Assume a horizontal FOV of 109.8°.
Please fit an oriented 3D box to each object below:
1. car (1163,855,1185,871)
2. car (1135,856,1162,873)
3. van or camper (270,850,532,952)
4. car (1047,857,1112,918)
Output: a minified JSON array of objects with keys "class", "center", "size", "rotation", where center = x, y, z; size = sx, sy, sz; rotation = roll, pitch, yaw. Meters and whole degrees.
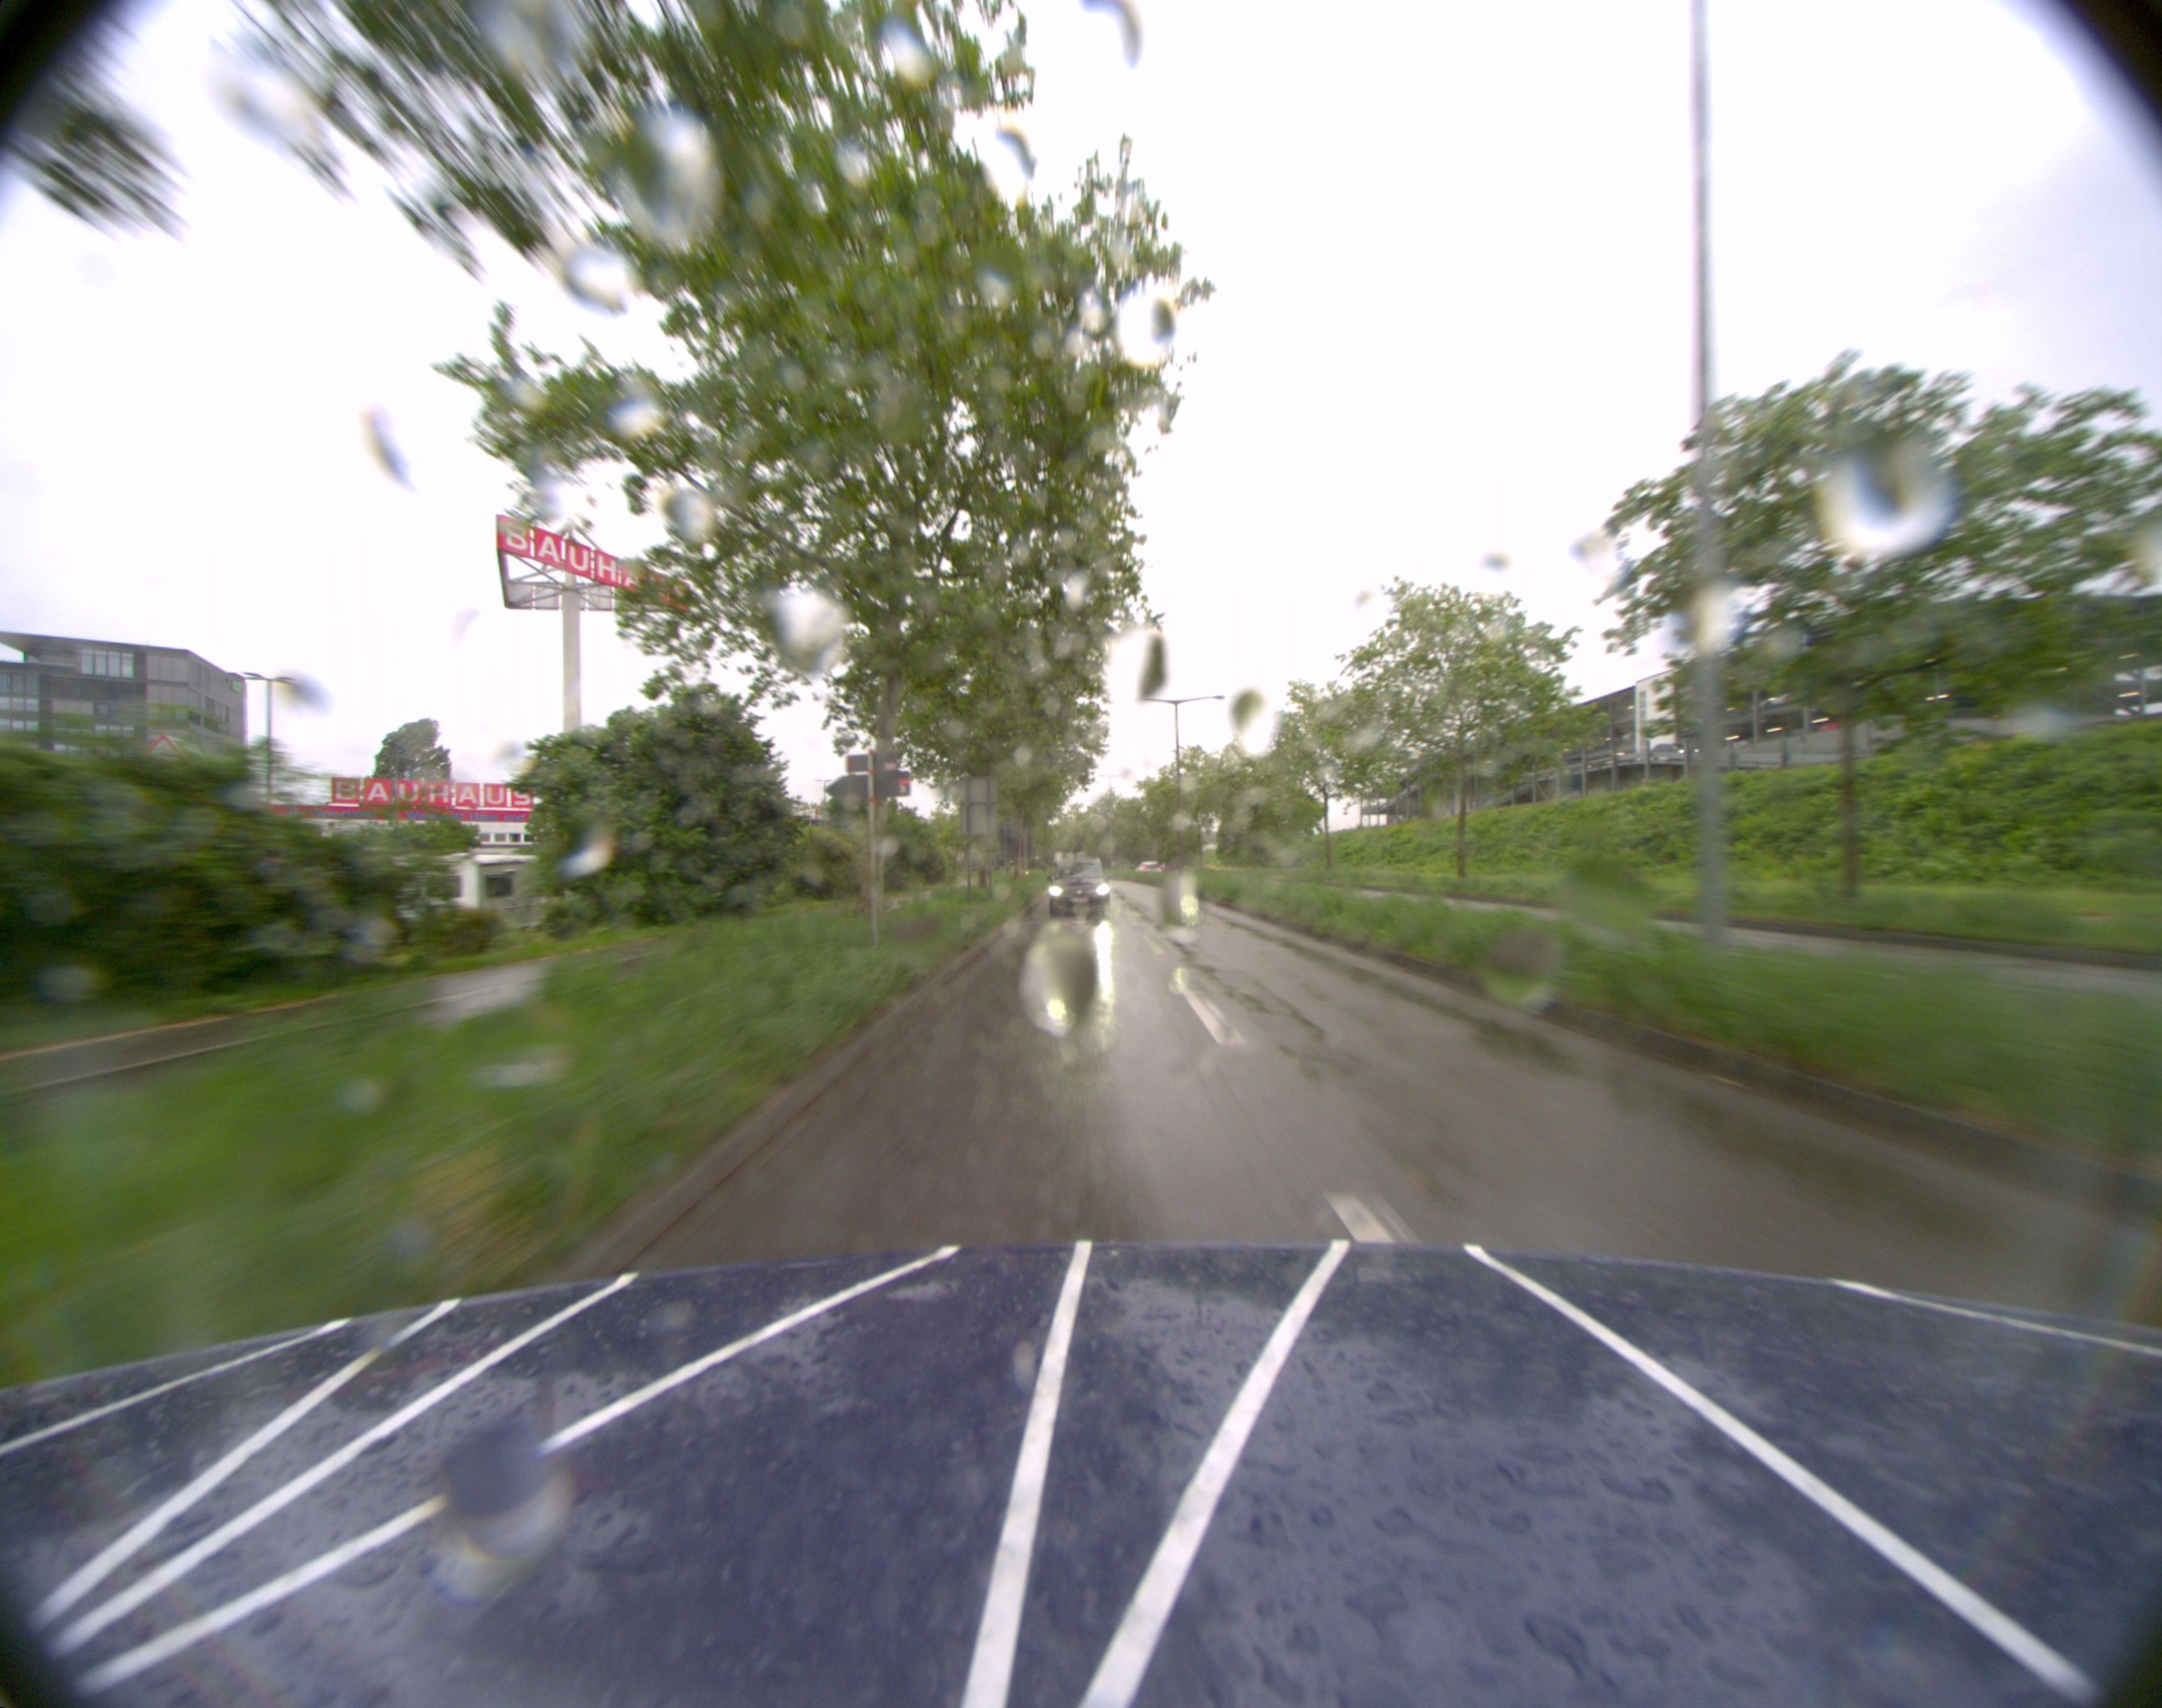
[{"class":"car","center":[8.980,0.833,73.428],"size":[1.635,1.417,4.000],"rotation":[-2,0,0]},{"class":"car","center":[6.276,0.934,71.175],"size":[1.707,1.486,4.202],"rotation":[-2,0,-6]},{"class":"van or camper","center":[-19.135,1.332,21.553],"size":[5.736,2.571,2.002],"rotation":[-2,-3,2]},{"class":"car","center":[0.041,0.967,24.045],"size":[1.788,1.605,4.717],"rotation":[-3,0,2]}]
